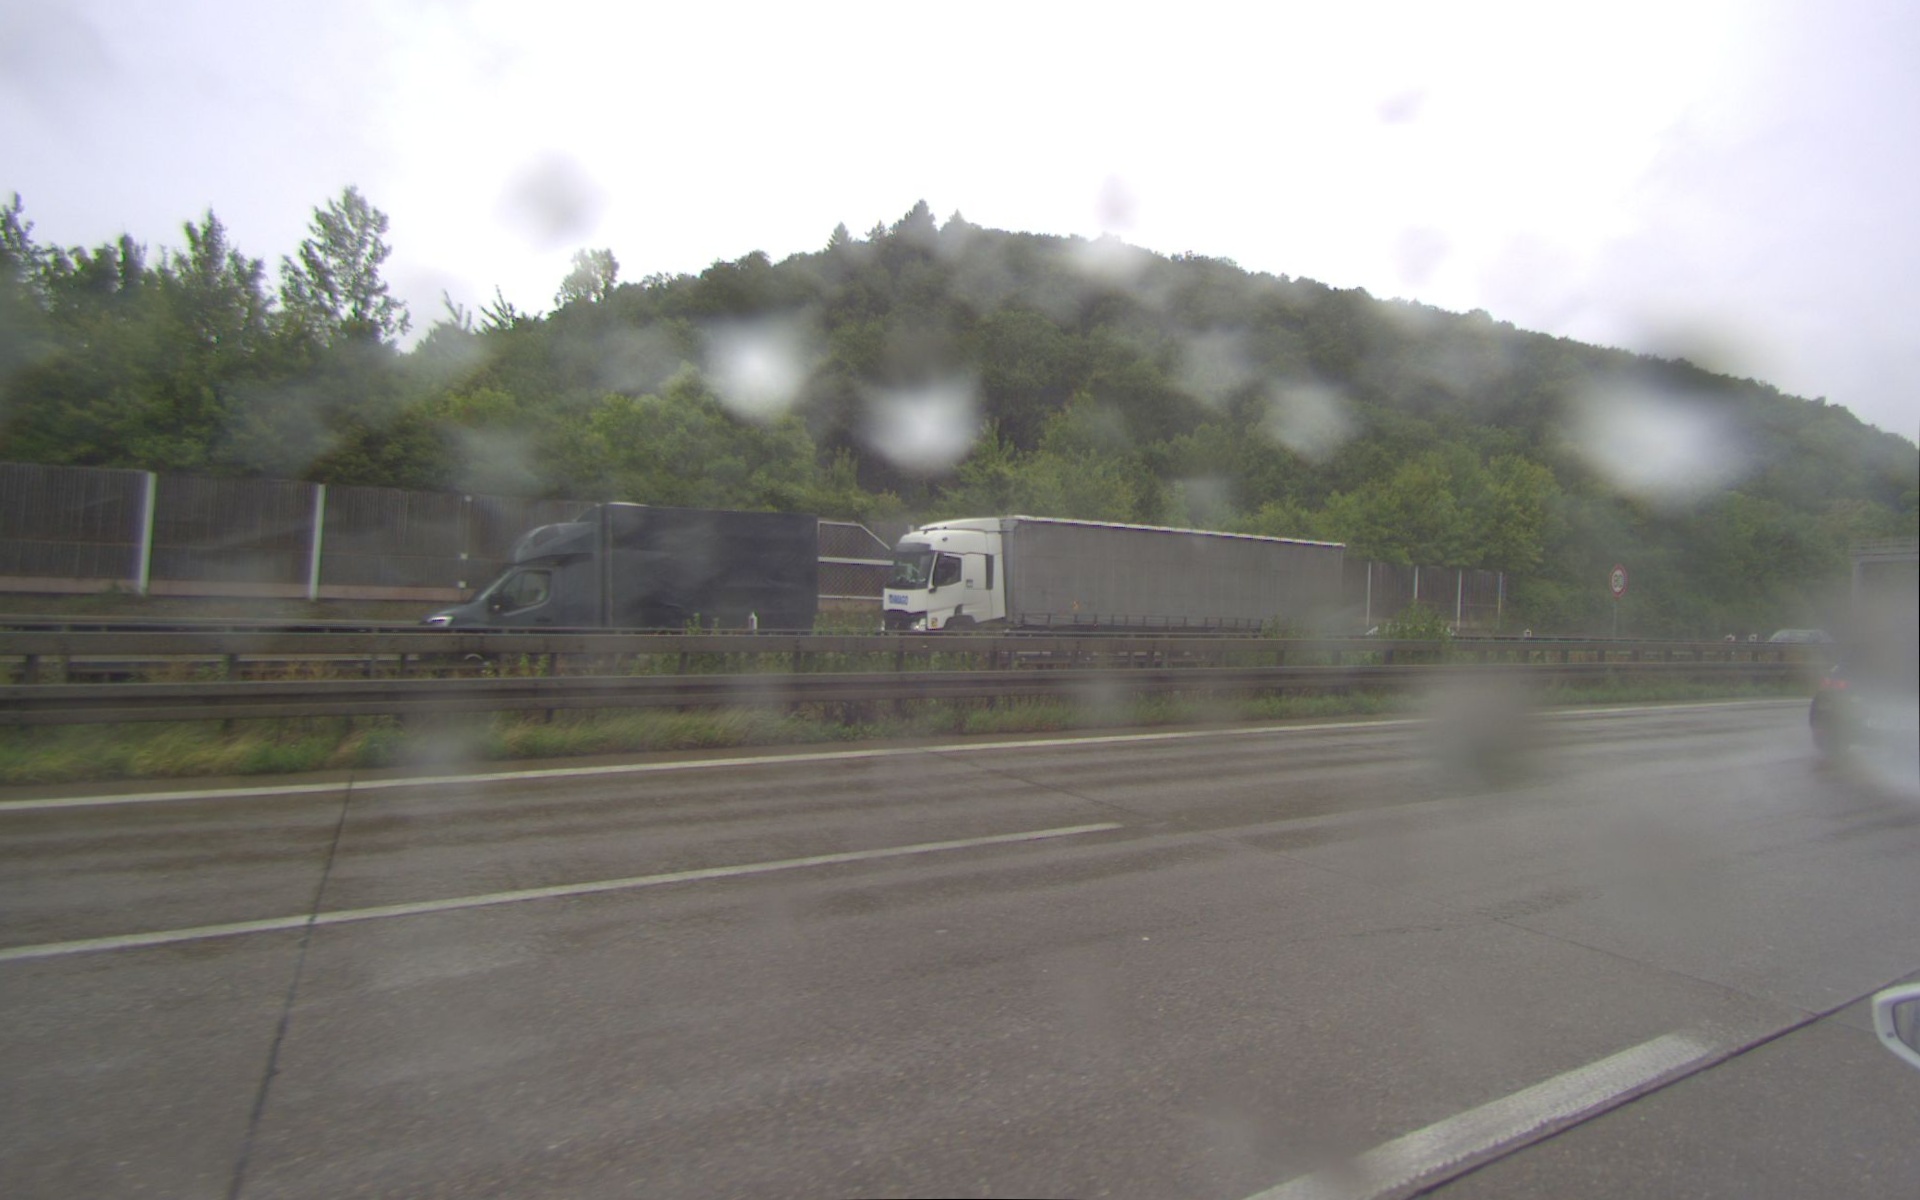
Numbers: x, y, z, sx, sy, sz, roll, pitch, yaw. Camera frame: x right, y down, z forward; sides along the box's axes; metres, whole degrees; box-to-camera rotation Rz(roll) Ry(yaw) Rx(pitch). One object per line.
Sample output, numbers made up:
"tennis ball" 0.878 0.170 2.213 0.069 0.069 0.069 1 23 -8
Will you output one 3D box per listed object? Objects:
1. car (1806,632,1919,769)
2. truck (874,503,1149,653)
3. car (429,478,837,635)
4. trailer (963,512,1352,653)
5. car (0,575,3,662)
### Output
"car" 11.699 1.112 11.575 4.273 1.406 1.732 2 -2 -32
"truck" 1.564 -0.498 28.992 7.589 3.852 2.762 2 0 -30
"car" -6.282 -0.698 19.797 7.354 2.601 2.173 2 0 -29
"trailer" 6.694 -0.339 31.940 13.614 3.852 2.754 2 0 -30
"car" -16.451 0.249 13.862 4.374 1.357 1.743 2 0 -31
